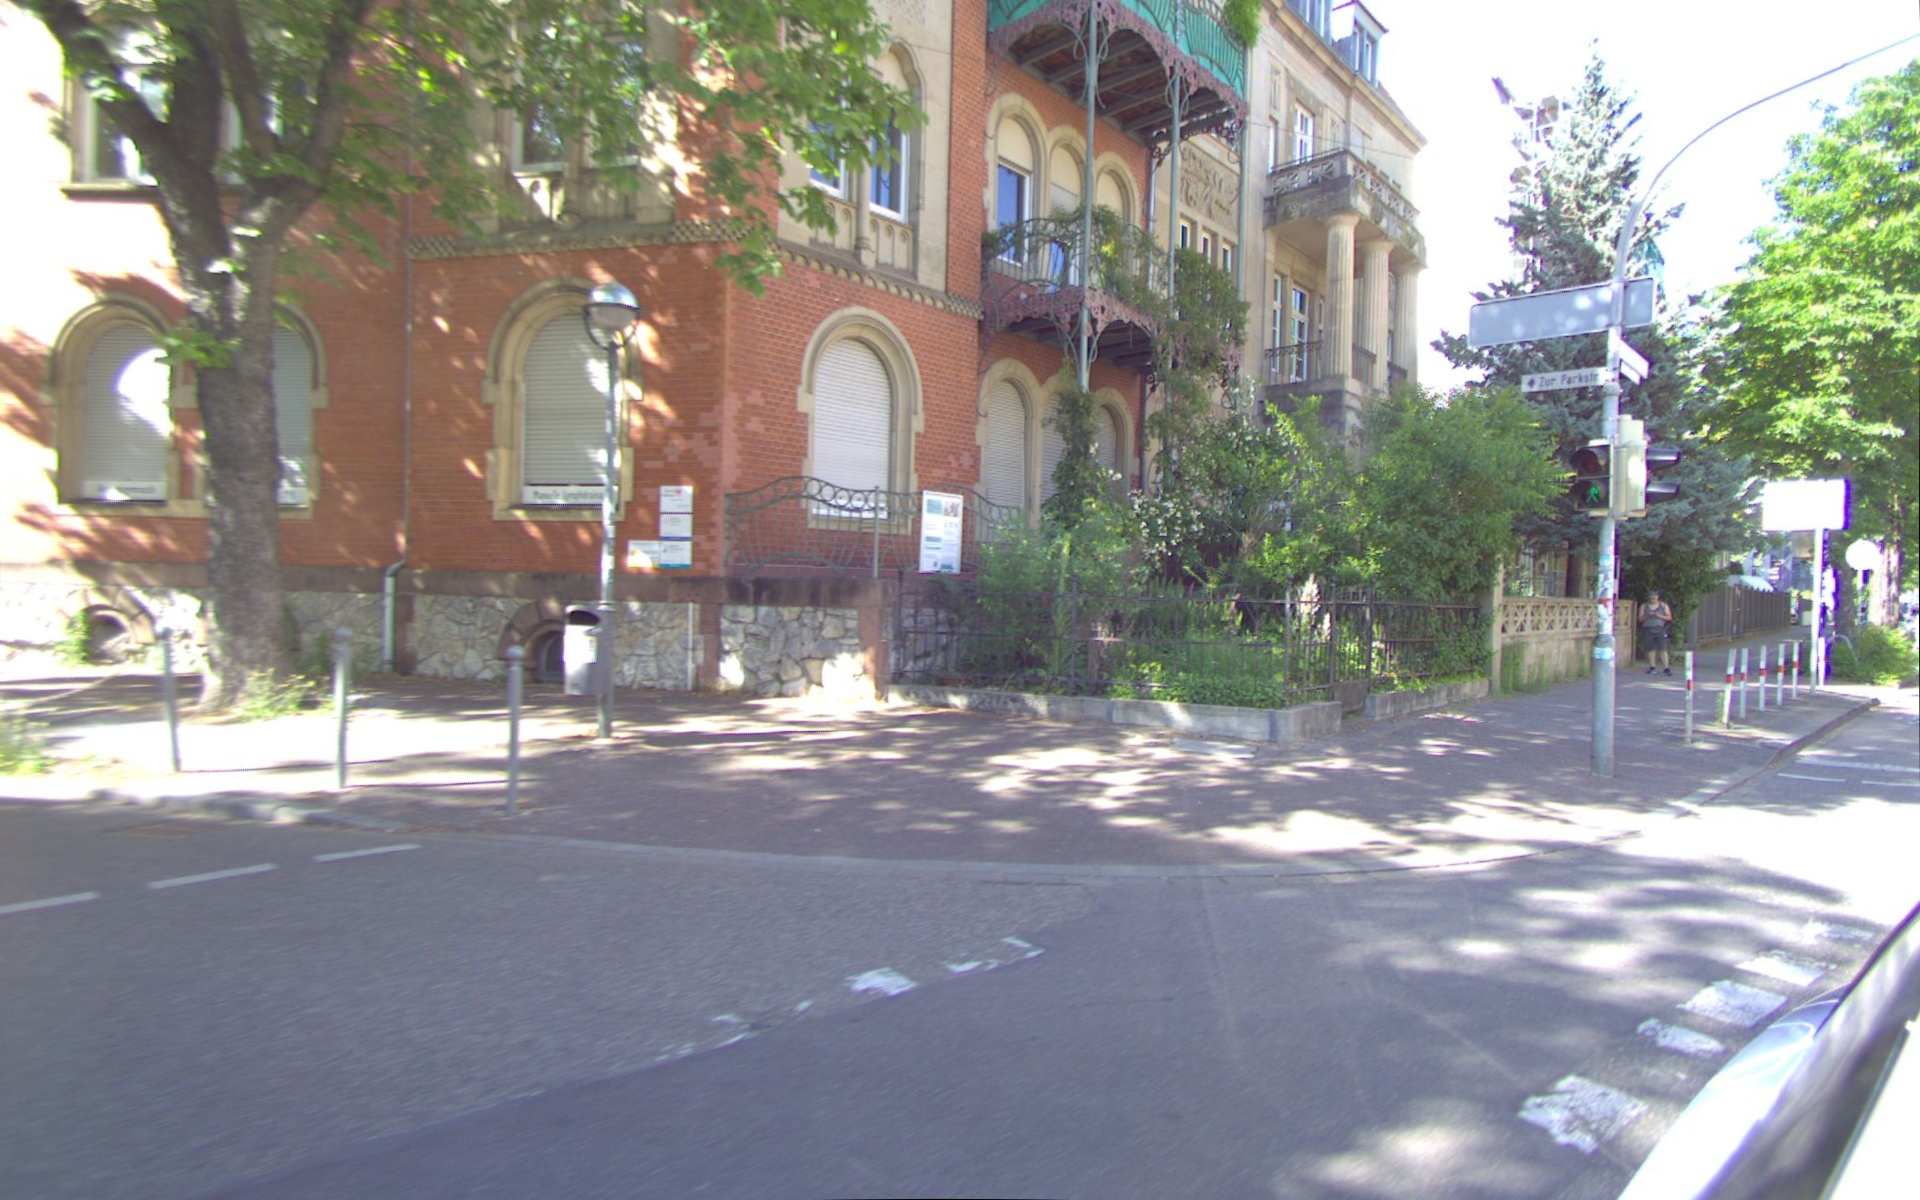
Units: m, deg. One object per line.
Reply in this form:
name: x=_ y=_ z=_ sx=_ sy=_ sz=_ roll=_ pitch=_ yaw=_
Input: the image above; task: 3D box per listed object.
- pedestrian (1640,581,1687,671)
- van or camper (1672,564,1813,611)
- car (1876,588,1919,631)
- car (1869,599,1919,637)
pedestrian: x=13.649 y=0.481 z=19.634 sx=0.636 sy=1.692 sz=0.592 roll=0 pitch=3 yaw=-45
van or camper: x=47.592 y=-0.763 z=61.803 sx=2.078 sy=2.660 sz=6.751 roll=0 pitch=1 yaw=-21
car: x=56.407 y=0.510 z=60.652 sx=2.126 sy=2.371 sz=5.718 roll=4 pitch=3 yaw=42
car: x=43.903 y=0.802 z=47.385 sx=1.871 sy=1.562 sz=4.300 roll=4 pitch=3 yaw=42
